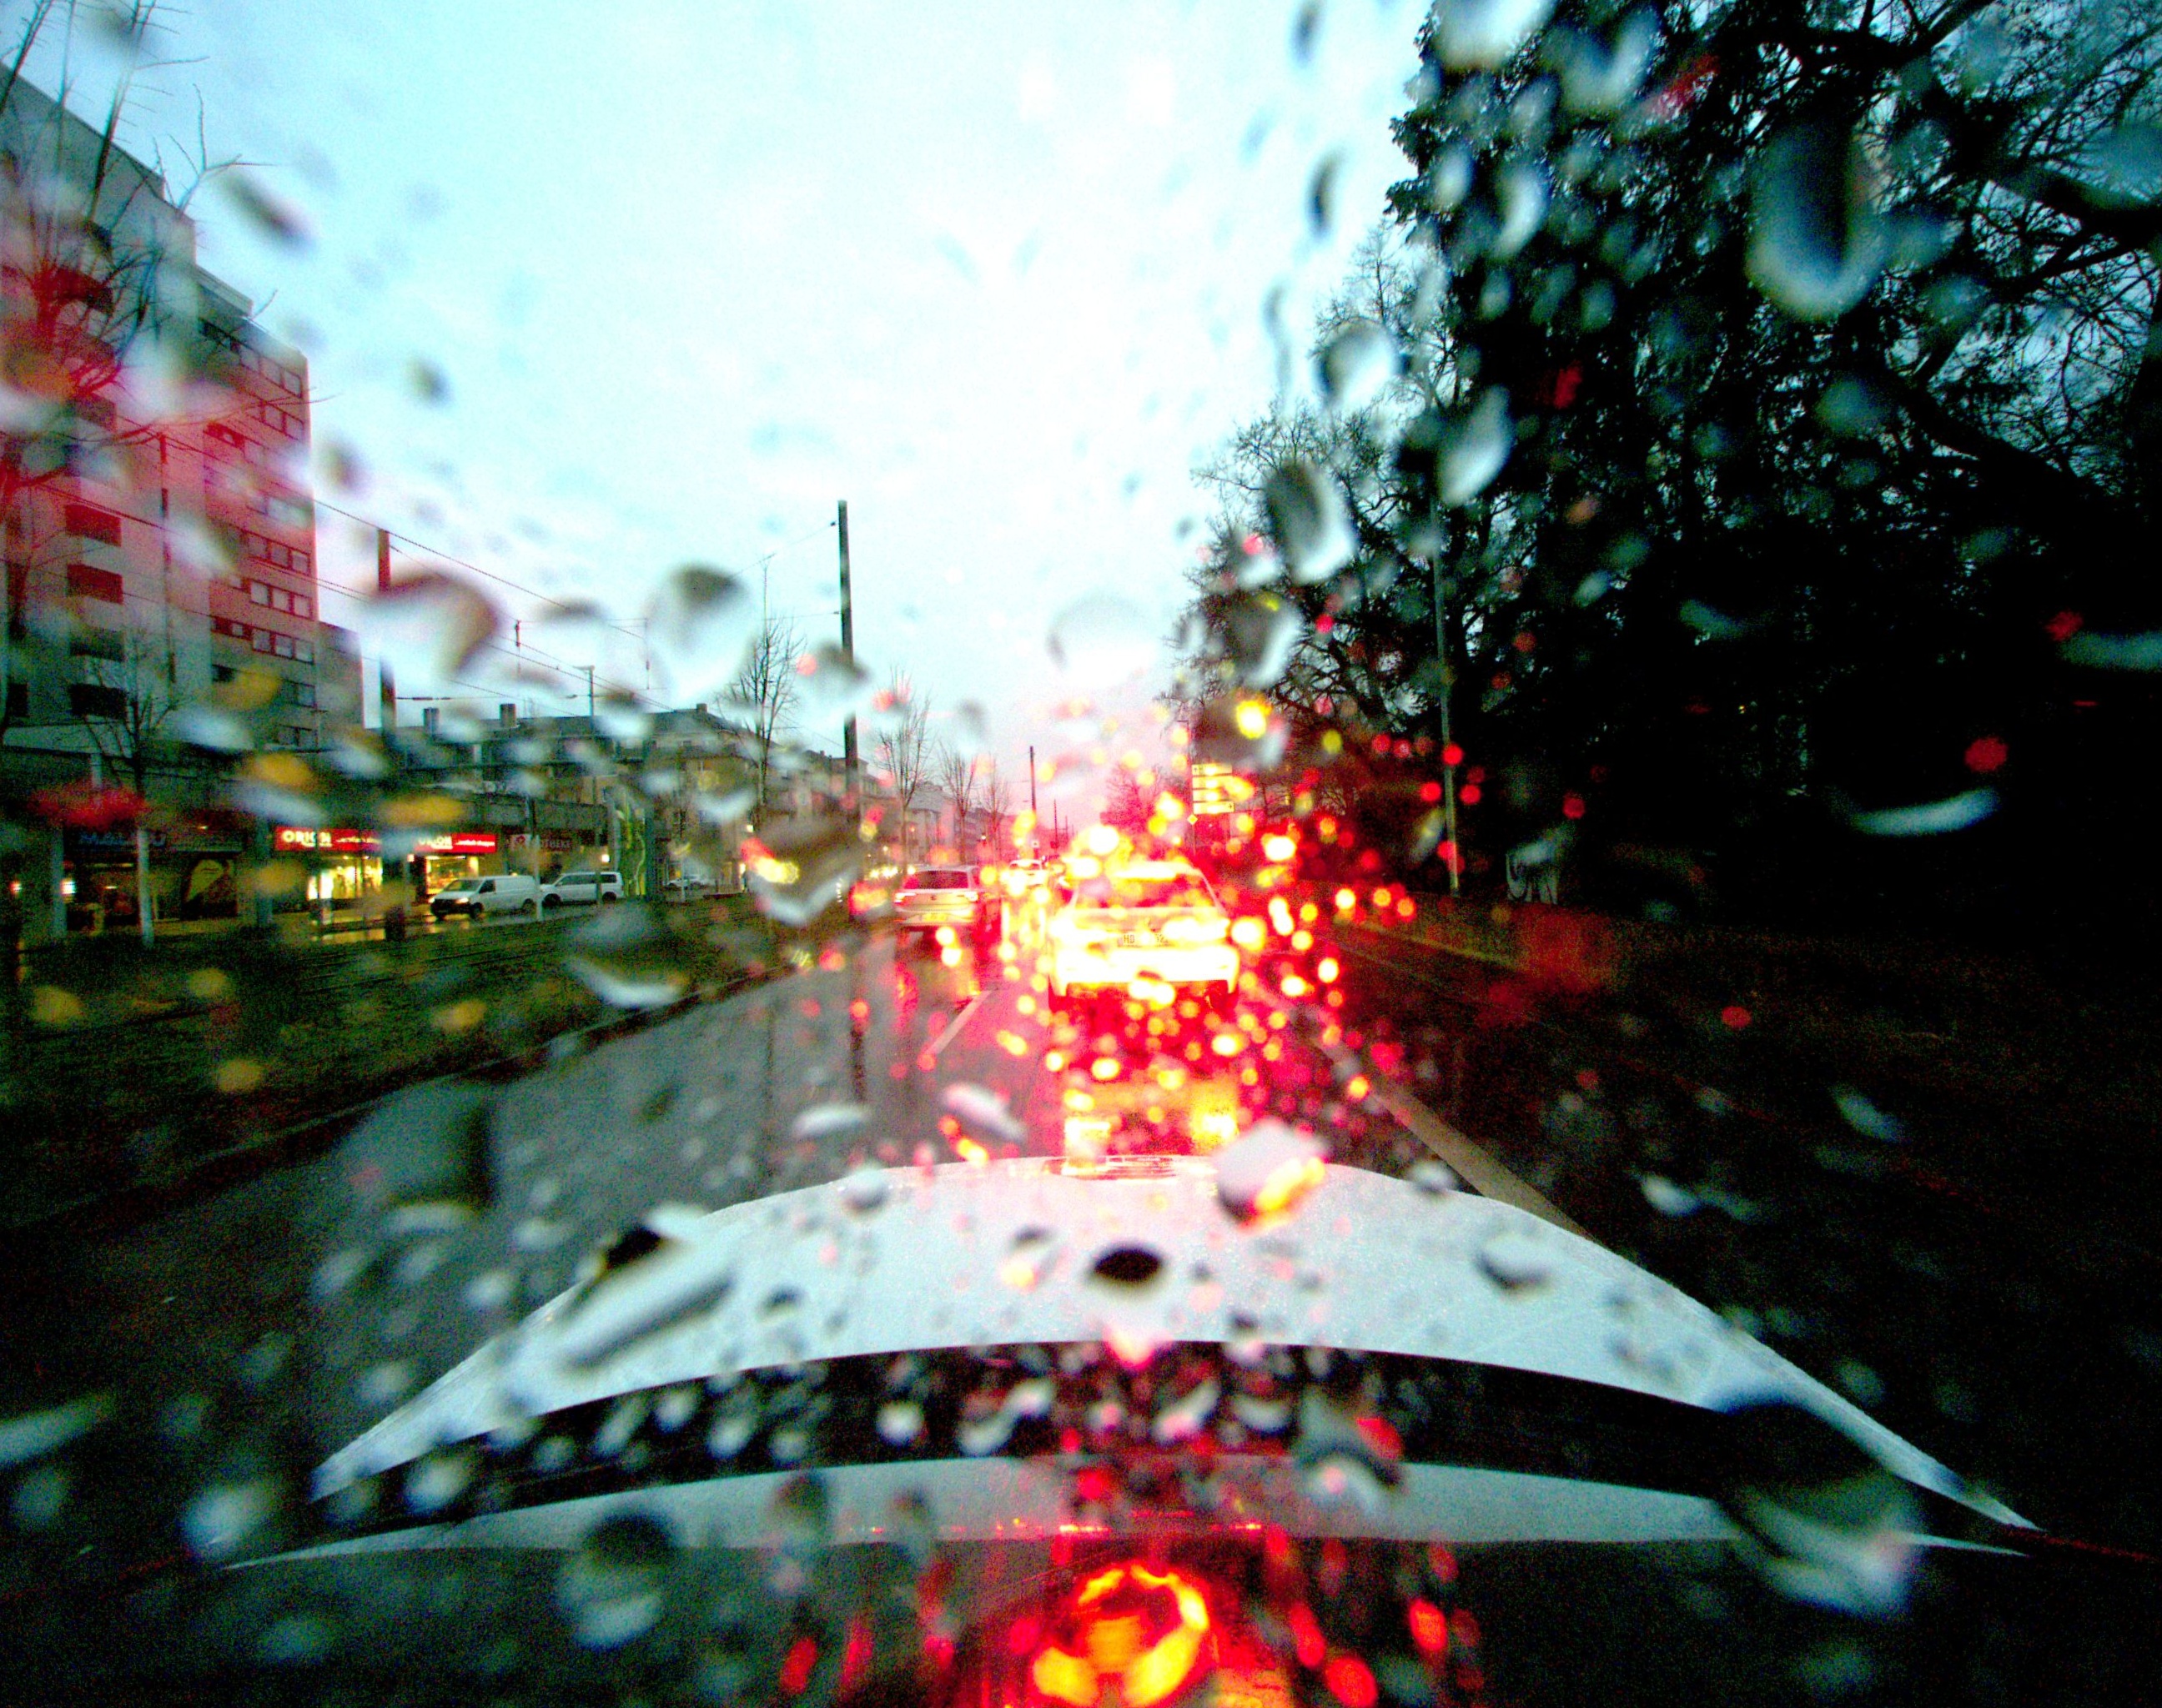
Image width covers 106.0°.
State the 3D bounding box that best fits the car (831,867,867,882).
[{"bbox_3d":[-20.698,1.813,72.671,1.852,1.332,4.317,0,-1,2],"label":"car"}]

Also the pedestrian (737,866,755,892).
[{"bbox_3d":[-27.409,2.022,66.580,1.274,2.013,1.000,-2,0,-23],"label":"pedestrian"}]

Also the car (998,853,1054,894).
[{"bbox_3d":[-2.180,0.748,33.676,1.792,1.466,4.587,-2,0,2],"label":"car"}]

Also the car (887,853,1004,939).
[{"bbox_3d":[-2.655,0.761,16.840,1.687,1.533,4.000,-1,0,0],"label":"car"}]

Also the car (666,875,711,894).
[{"bbox_3d":[-40.672,3.134,84.459,3.744,1.942,1.838,0,-1,-7],"label":"car"}]

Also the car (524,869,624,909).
[{"bbox_3d":[-30.694,2.086,49.436,4.859,2.244,1.975,0,-1,-44],"label":"car"}]

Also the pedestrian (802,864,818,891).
[{"bbox_3d":[-21.008,1.829,63.145,0.958,2.013,1.004,-2,0,-9],"label":"pedestrian"}]

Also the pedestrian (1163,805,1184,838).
[{"bbox_3d":[5.946,-2.081,52.476,0.962,2.013,1.000,-2,0,-21],"label":"pedestrian"}]

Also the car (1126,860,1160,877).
[{"bbox_3d":[5.749,1.352,76.355,1.744,1.419,3.677,-2,0,-21],"label":"car"}]

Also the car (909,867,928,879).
[{"bbox_3d":[-19.899,2.313,99.683,1.688,1.277,4.141,-2,0,-4],"label":"car"}]

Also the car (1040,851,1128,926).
[{"bbox_3d":[0.130,0.740,19.175,1.793,1.511,3.897,-2,0,2],"label":"car"}]

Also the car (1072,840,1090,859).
[{"bbox_3d":[-0.006,-0.423,74.383,1.501,1.653,2.843,0,-1,-2],"label":"car"}]

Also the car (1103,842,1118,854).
[{"bbox_3d":[3.683,-0.737,102.204,1.731,1.419,4.147,-2,0,2],"label":"car"}]

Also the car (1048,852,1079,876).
[{"bbox_3d":[-1.132,0.629,53.703,1.731,1.419,4.395,-2,0,2],"label":"car"}]

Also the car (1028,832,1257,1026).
[{"bbox_3d":[0.597,0.629,9.323,1.855,1.556,4.940,-2,0,2],"label":"car"}]

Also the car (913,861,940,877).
[{"bbox_3d":[-16.113,1.536,85.134,1.987,1.602,4.000,0,-1,1],"label":"car"}]

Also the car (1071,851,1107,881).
[{"bbox_3d":[0.455,0.595,41.908,1.731,1.419,3.704,-2,0,2],"label":"car"}]

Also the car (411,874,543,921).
[{"bbox_3d":[-29.697,2.080,40.332,1.983,2.046,5.575,0,-1,6],"label":"car"}]

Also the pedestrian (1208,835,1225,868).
[{"bbox_3d":[8.543,-0.137,51.538,0.953,2.013,1.010,-2,0,7],"label":"pedestrian"}]

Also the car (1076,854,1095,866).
[{"bbox_3d":[0.541,0.620,87.409,1.923,1.288,4.001,0,-1,2],"label":"car"}]
